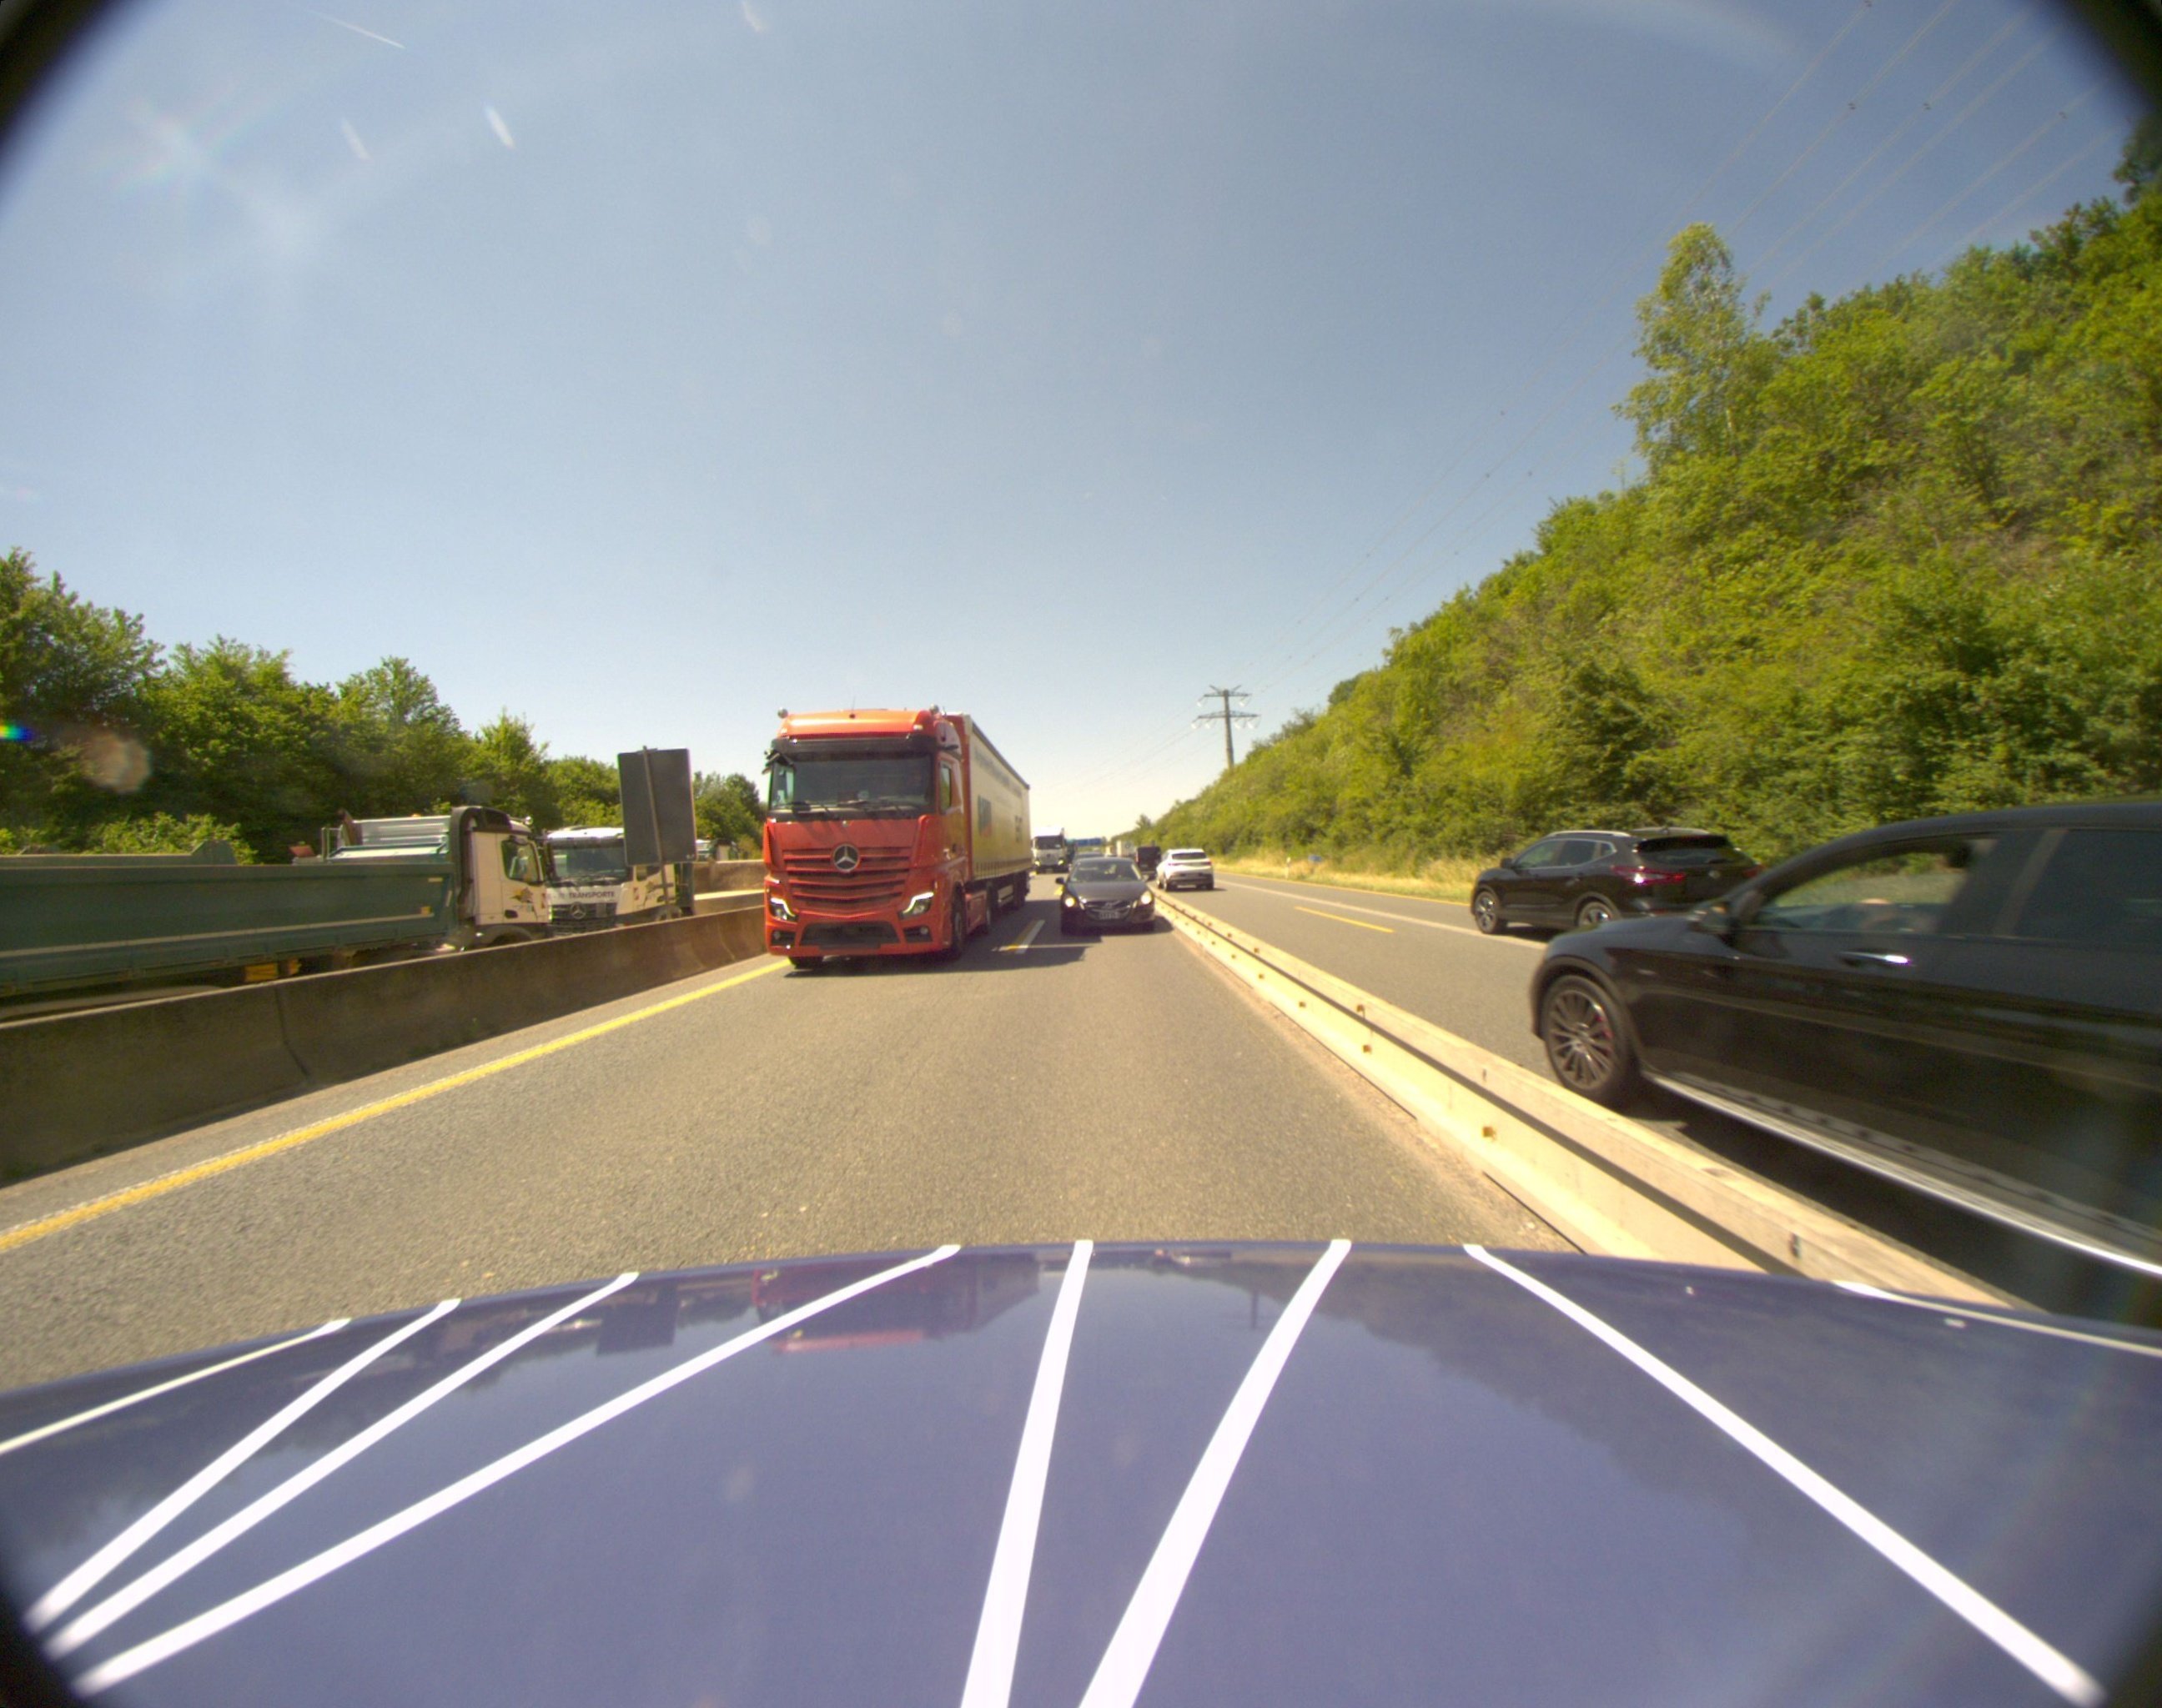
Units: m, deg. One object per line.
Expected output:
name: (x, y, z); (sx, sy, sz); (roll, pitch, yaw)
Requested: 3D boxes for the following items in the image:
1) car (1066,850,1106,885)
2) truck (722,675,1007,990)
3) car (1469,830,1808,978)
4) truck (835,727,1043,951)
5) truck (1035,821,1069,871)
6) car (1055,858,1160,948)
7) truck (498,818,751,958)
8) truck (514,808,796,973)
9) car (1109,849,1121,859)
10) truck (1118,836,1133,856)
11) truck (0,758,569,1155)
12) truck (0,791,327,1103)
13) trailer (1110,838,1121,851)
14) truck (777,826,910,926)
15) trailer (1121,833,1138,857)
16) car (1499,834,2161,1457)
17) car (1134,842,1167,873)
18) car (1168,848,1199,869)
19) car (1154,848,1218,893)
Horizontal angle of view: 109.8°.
car: (0.261, 0.600, 37.198); (1.767, 1.523, 4.698); (-3, 1, 1)
truck: (-3.146, -0.304, 13.265); (2.689, 3.987, 6.725); (-3, 1, 2)
car: (7.211, 0.547, 10.434); (1.704, 1.556, 3.994); (-3, 0, 0)
truck: (-2.935, -0.351, 20.559); (2.689, 3.987, 13.218); (-3, 1, 1)
truck: (-2.530, -0.697, 69.147); (2.481, 4.030, 13.109); (-2, 0, 0)
car: (0.497, 0.863, 15.467); (1.767, 1.411, 4.698); (-2, 1, 1)
truck: (-13.589, 0.860, 23.801); (2.694, 3.490, 8.379); (-2, 0, 0)
truck: (-10.914, 0.774, 20.962); (2.539, 3.490, 8.943); (-2, 0, 0)
car: (5.685, -0.013, 126.628); (1.717, 1.417, 4.169); (-3, 1, 0)
truck: (9.209, -1.638, 158.253); (2.416, 3.969, 10.351); (-3, 0, 0)
truck: (-10.922, 0.944, 9.364); (2.545, 3.536, 9.601); (-2, 0, 0)
truck: (-13.626, 1.111, 7.444); (2.694, 3.536, 9.602); (-2, 0, 0)
trailer: (9.793, -2.674, 216.211); (2.657, 3.317, 8.918); (-4, 0, 1)
truck: (-9.597, 0.762, 31.927); (2.539, 3.490, 9.096); (-2, 0, 0)
trailer: (9.405, -1.741, 148.815); (2.644, 4.287, 8.447); (-3, 0, 0)
car: (3.596, 0.708, 2.517); (1.848, 1.524, 4.671); (-2, 0, 0)
car: (4.916, 0.211, 53.996); (1.895, 2.002, 4.817); (-3, 0, 1)
car: (7.958, 0.299, 59.523); (1.797, 1.516, 4.531); (-3, 0, 1)
car: (4.066, 0.595, 30.161); (1.848, 1.524, 4.671); (-4, 0, 0)
